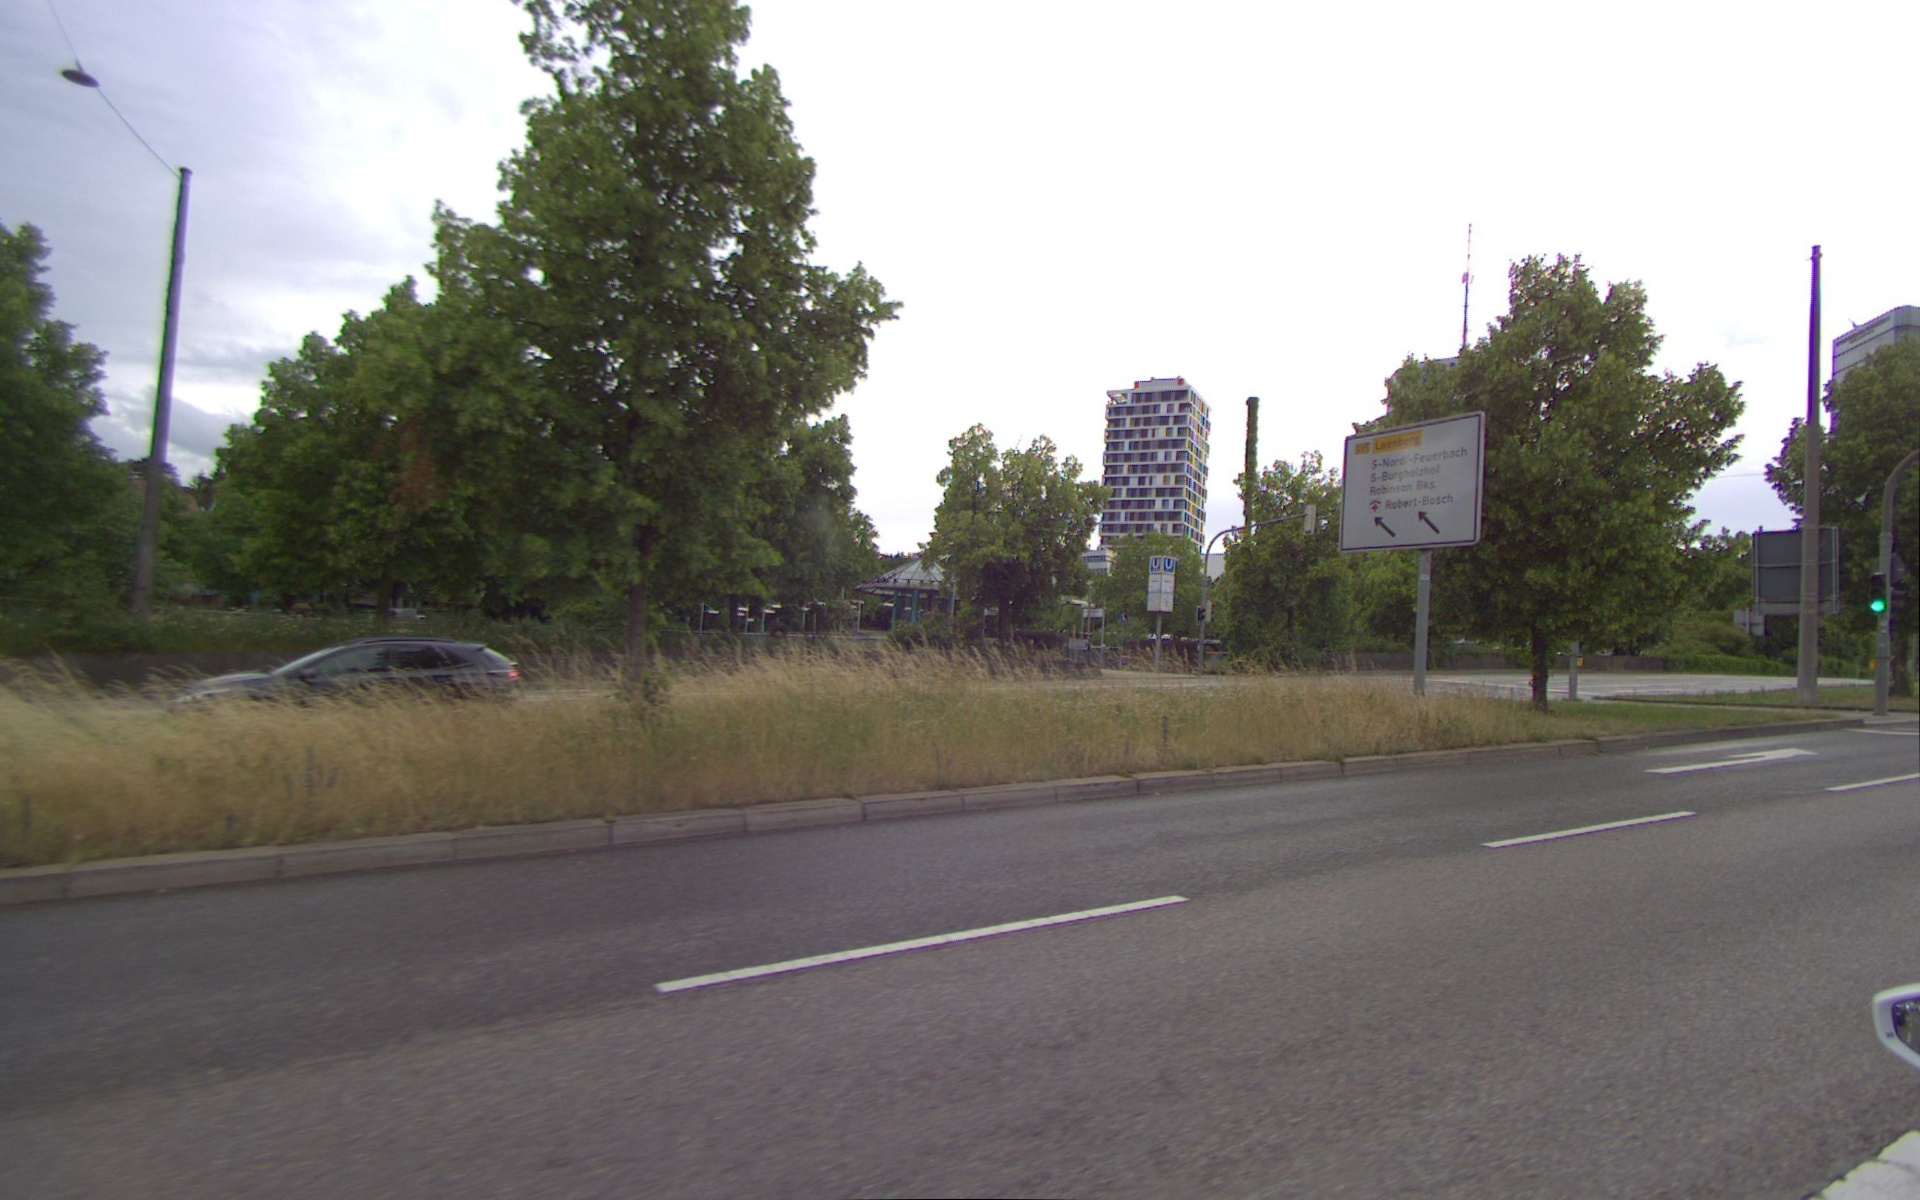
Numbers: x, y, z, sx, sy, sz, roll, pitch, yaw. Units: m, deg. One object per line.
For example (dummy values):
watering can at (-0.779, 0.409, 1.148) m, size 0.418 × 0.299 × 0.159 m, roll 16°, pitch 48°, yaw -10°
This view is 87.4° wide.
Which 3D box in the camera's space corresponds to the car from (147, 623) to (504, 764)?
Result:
car at (-8.781, 1.216, 14.198) m, size 3.977 × 1.661 × 1.981 m, roll 2°, pitch 0°, yaw -34°
